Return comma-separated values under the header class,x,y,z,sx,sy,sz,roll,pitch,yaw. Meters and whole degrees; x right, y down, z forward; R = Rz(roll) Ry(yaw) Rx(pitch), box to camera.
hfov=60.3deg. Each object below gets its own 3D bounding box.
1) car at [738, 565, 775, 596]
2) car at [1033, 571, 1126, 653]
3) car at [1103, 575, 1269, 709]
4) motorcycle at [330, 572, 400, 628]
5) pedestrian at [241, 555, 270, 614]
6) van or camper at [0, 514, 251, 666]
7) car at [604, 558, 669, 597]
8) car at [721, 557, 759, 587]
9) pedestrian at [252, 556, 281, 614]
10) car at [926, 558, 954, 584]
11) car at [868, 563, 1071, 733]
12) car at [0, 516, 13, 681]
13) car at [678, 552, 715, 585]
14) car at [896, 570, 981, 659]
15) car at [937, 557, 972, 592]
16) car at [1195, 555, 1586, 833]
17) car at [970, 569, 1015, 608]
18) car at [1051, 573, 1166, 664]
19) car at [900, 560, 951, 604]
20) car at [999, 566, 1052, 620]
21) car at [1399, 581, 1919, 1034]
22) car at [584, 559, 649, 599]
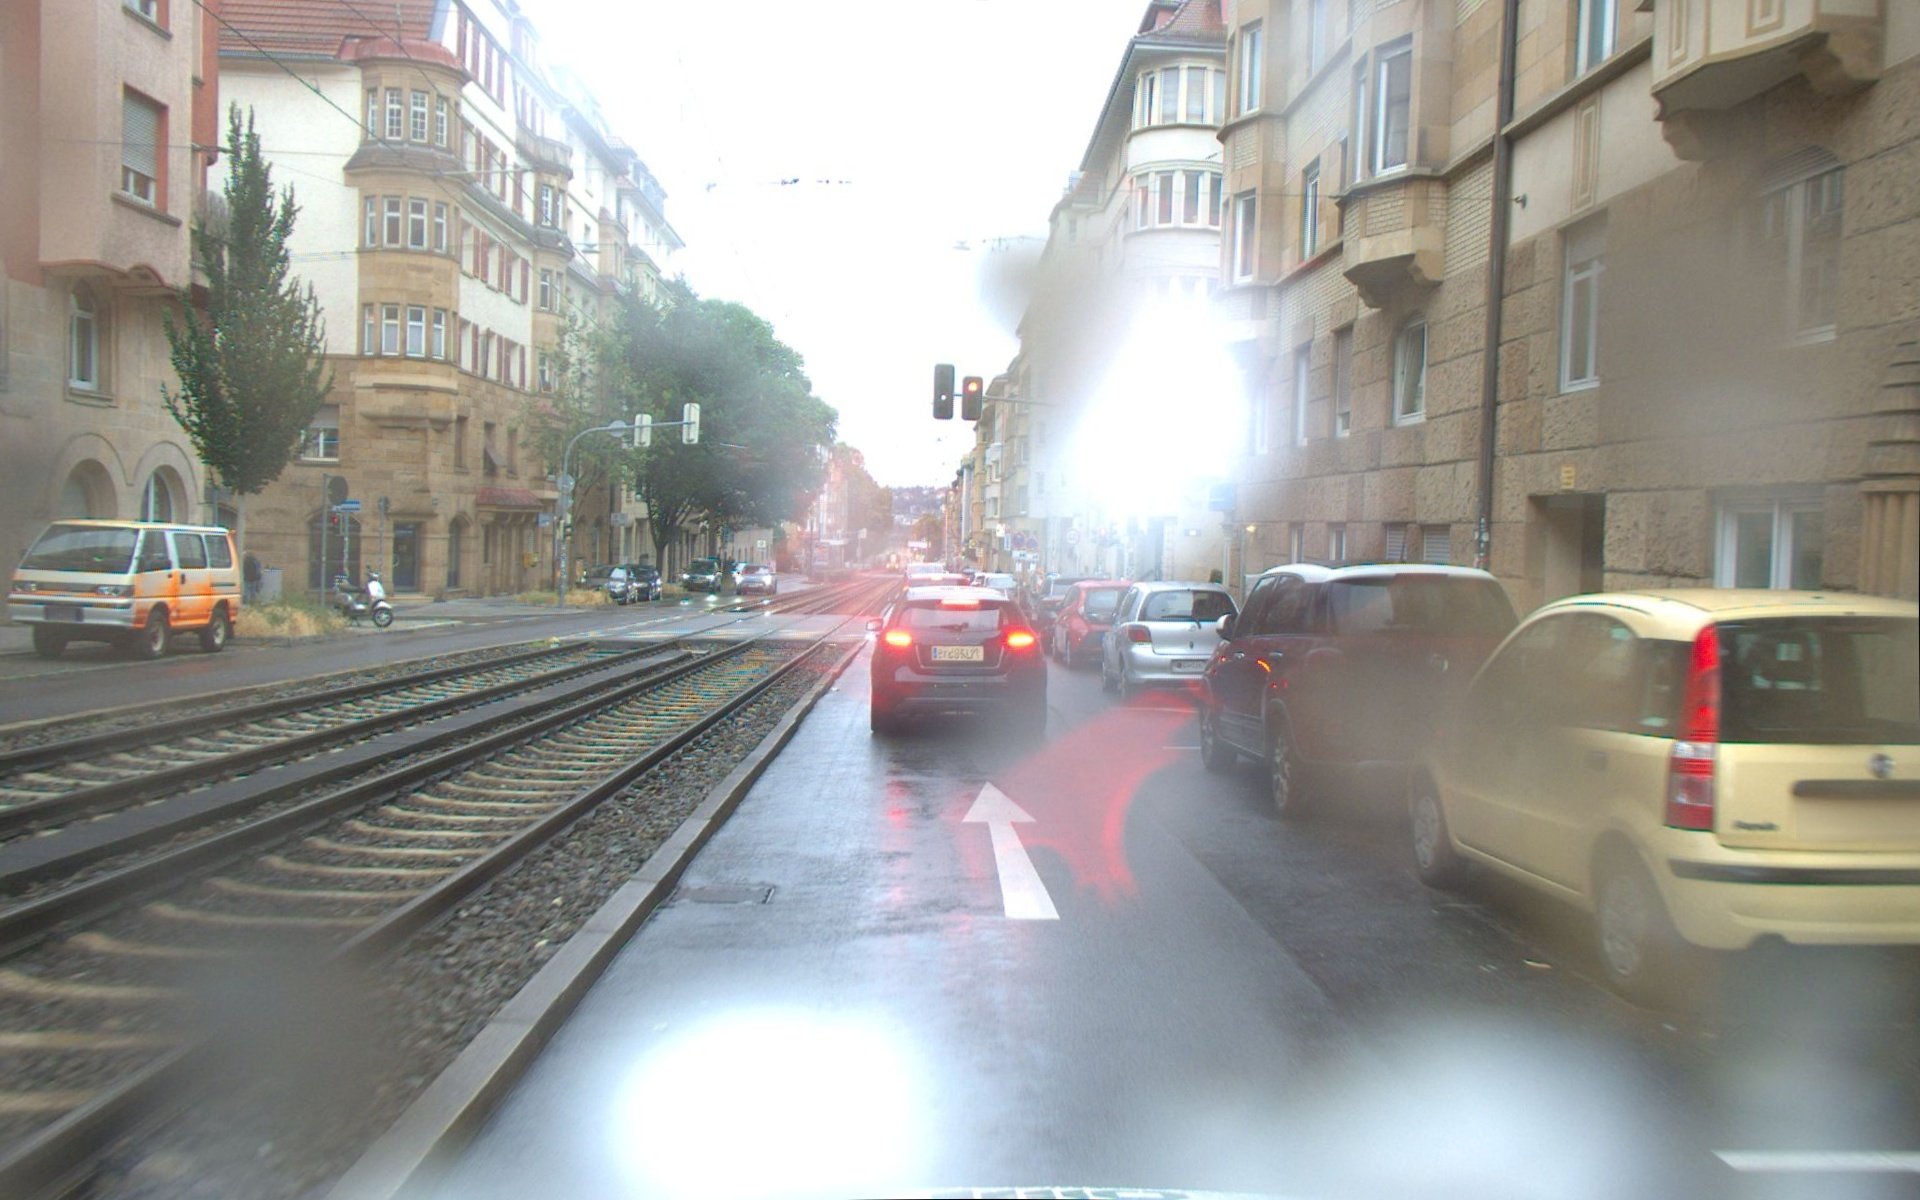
class,x,y,z,sx,sy,sz,roll,pitch,yaw
car,-10.715,-1.034,87.085,1.760,1.575,3.996,0,1,-5
car,2.408,0.206,34.042,1.518,1.534,4.000,2,1,-1
car,2.851,0.472,21.485,1.604,1.569,3.465,1,1,-1
motorcycle,-12.771,-0.008,35.519,1.409,1.154,0.619,2,1,28
pedestrian,-21.442,-0.466,50.347,0.595,1.763,0.642,1,1,0
van or camper,-12.511,-0.181,24.642,1.954,1.934,4.696,4,1,-3
car,-13.473,-0.941,69.082,1.953,1.544,4.000,1,1,-1
car,-14.261,-1.836,107.262,1.953,1.825,4.000,2,1,-1
pedestrian,-21.457,-0.472,51.170,0.595,1.763,0.642,1,1,0
car,-1.404,-2.002,113.684,1.870,1.735,4.000,1,1,-1
car,0.023,0.444,17.396,1.907,1.592,3.641,0,0,-2
car,-12.207,0.025,17.286,1.953,1.934,4.698,0,1,-1
car,-14.288,-1.688,89.825,1.755,1.721,3.994,1,1,-7
car,-0.416,0.222,32.127,1.504,1.536,4.000,2,2,-1
car,-0.305,-1.360,89.185,1.815,1.829,3.811,0,0,-1
car,2.910,0.537,12.074,1.676,1.656,3.999,2,1,-2
car,1.489,-0.524,77.528,1.734,1.807,3.996,0,0,-5
car,2.540,0.281,28.859,1.570,1.443,3.147,1,1,-3
car,-1.359,-0.754,66.549,1.882,1.684,4.001,1,1,0
car,2.572,-0.284,65.448,1.860,2.063,4.175,0,0,-1
car,3.231,0.703,7.400,1.527,1.504,3.460,2,1,-1
car,-13.212,-0.794,63.766,1.735,1.489,3.999,0,1,-1
